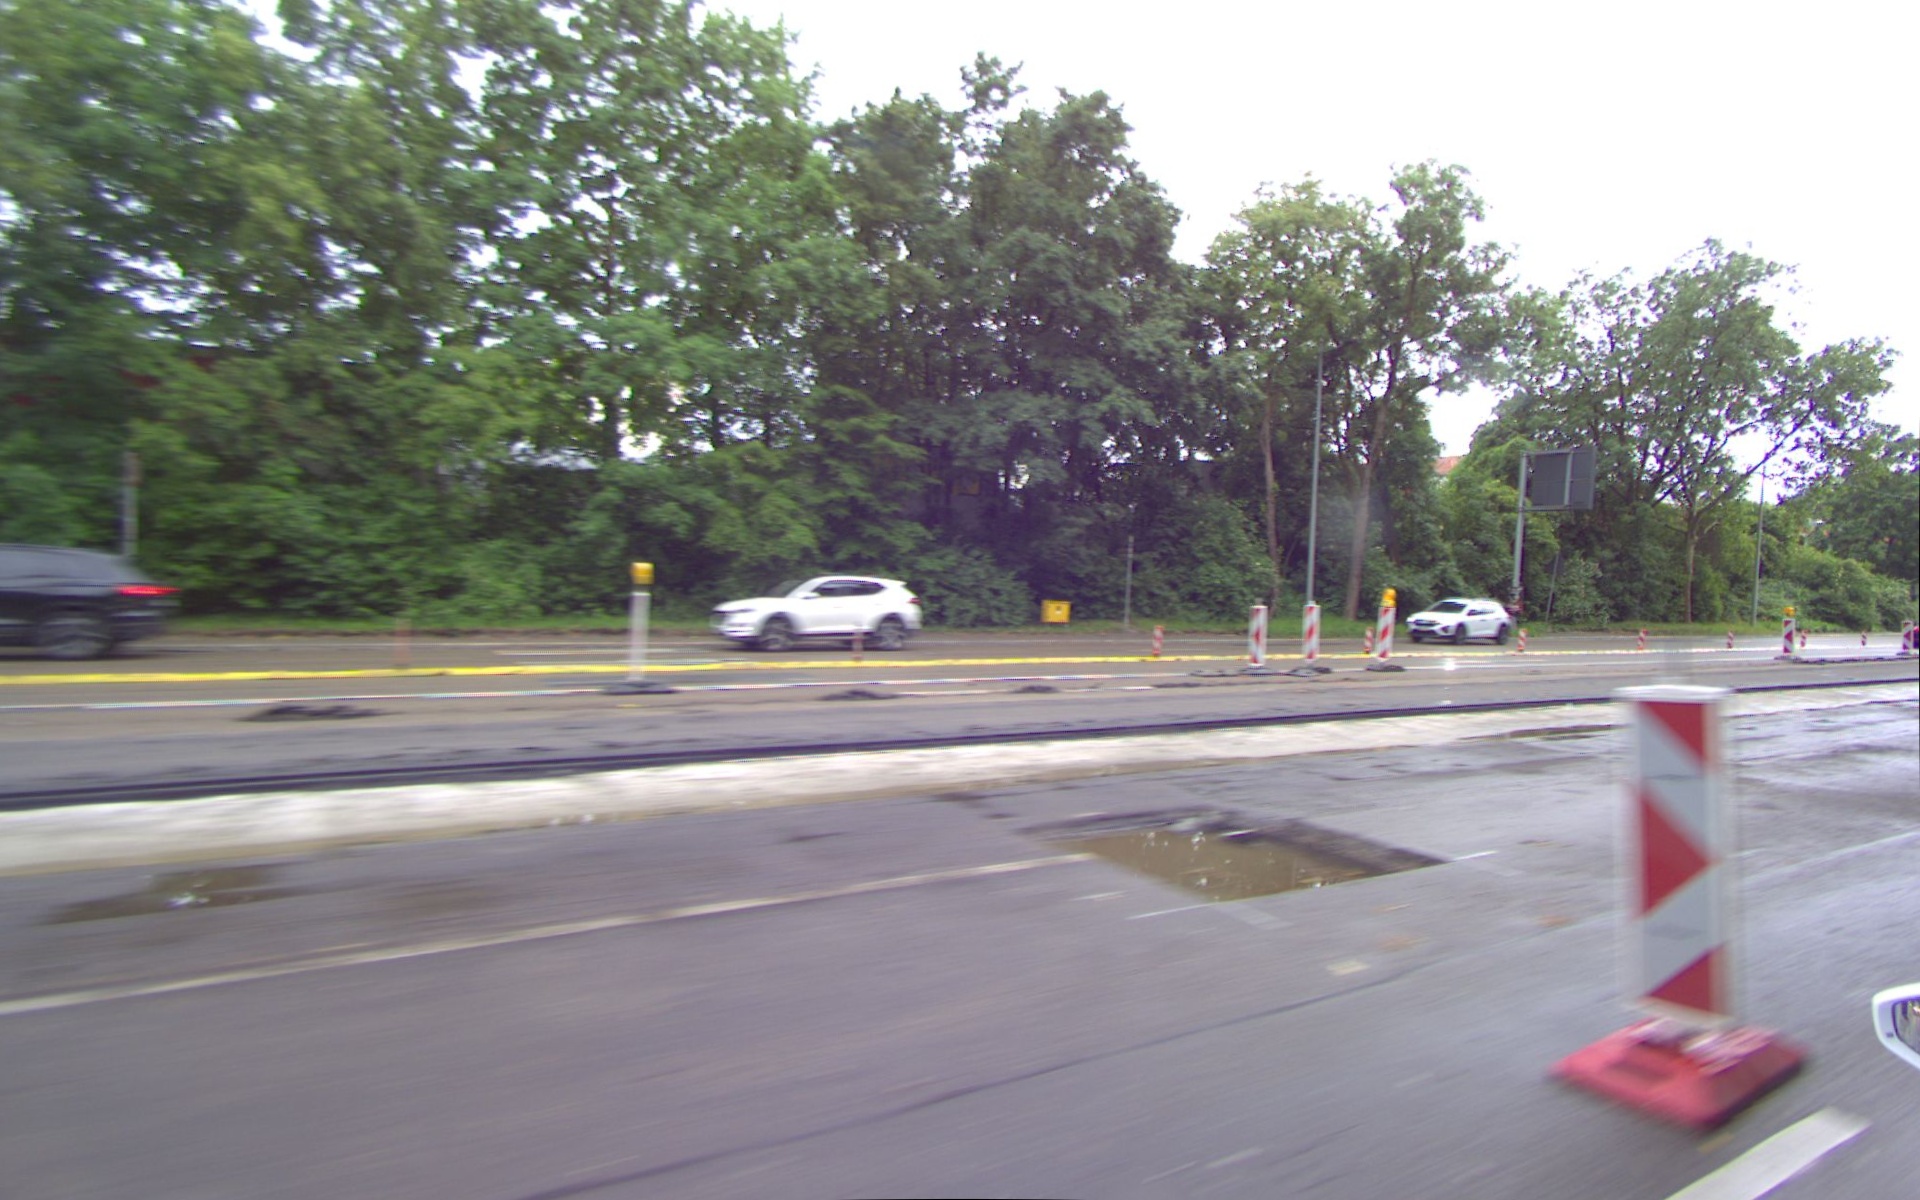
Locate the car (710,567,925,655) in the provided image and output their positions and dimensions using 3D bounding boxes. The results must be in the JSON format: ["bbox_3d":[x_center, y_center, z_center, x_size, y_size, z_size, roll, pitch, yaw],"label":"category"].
[{"bbox_3d":[-3.096,0.243,22.130,4.333,1.774,1.766,1,1,-33],"label":"car"}]

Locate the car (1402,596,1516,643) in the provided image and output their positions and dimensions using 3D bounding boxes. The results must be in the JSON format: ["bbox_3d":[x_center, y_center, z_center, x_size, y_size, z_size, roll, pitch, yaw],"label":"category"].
[{"bbox_3d":[17.330,0.684,34.844,4.111,1.561,1.657,1,-1,-32],"label":"car"}]

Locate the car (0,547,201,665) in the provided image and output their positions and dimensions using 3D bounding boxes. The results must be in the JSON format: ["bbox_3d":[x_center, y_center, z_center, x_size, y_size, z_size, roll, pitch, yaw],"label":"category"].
[{"bbox_3d":[-14.471,0.081,14.973,4.862,1.685,1.766,1,0,-33],"label":"car"}]

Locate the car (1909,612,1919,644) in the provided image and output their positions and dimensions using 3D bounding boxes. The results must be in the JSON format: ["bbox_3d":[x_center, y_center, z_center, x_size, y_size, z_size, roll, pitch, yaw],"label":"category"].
[{"bbox_3d":[44.619,1.300,45.398,3.999,1.423,1.597,1,2,-34],"label":"car"}]
